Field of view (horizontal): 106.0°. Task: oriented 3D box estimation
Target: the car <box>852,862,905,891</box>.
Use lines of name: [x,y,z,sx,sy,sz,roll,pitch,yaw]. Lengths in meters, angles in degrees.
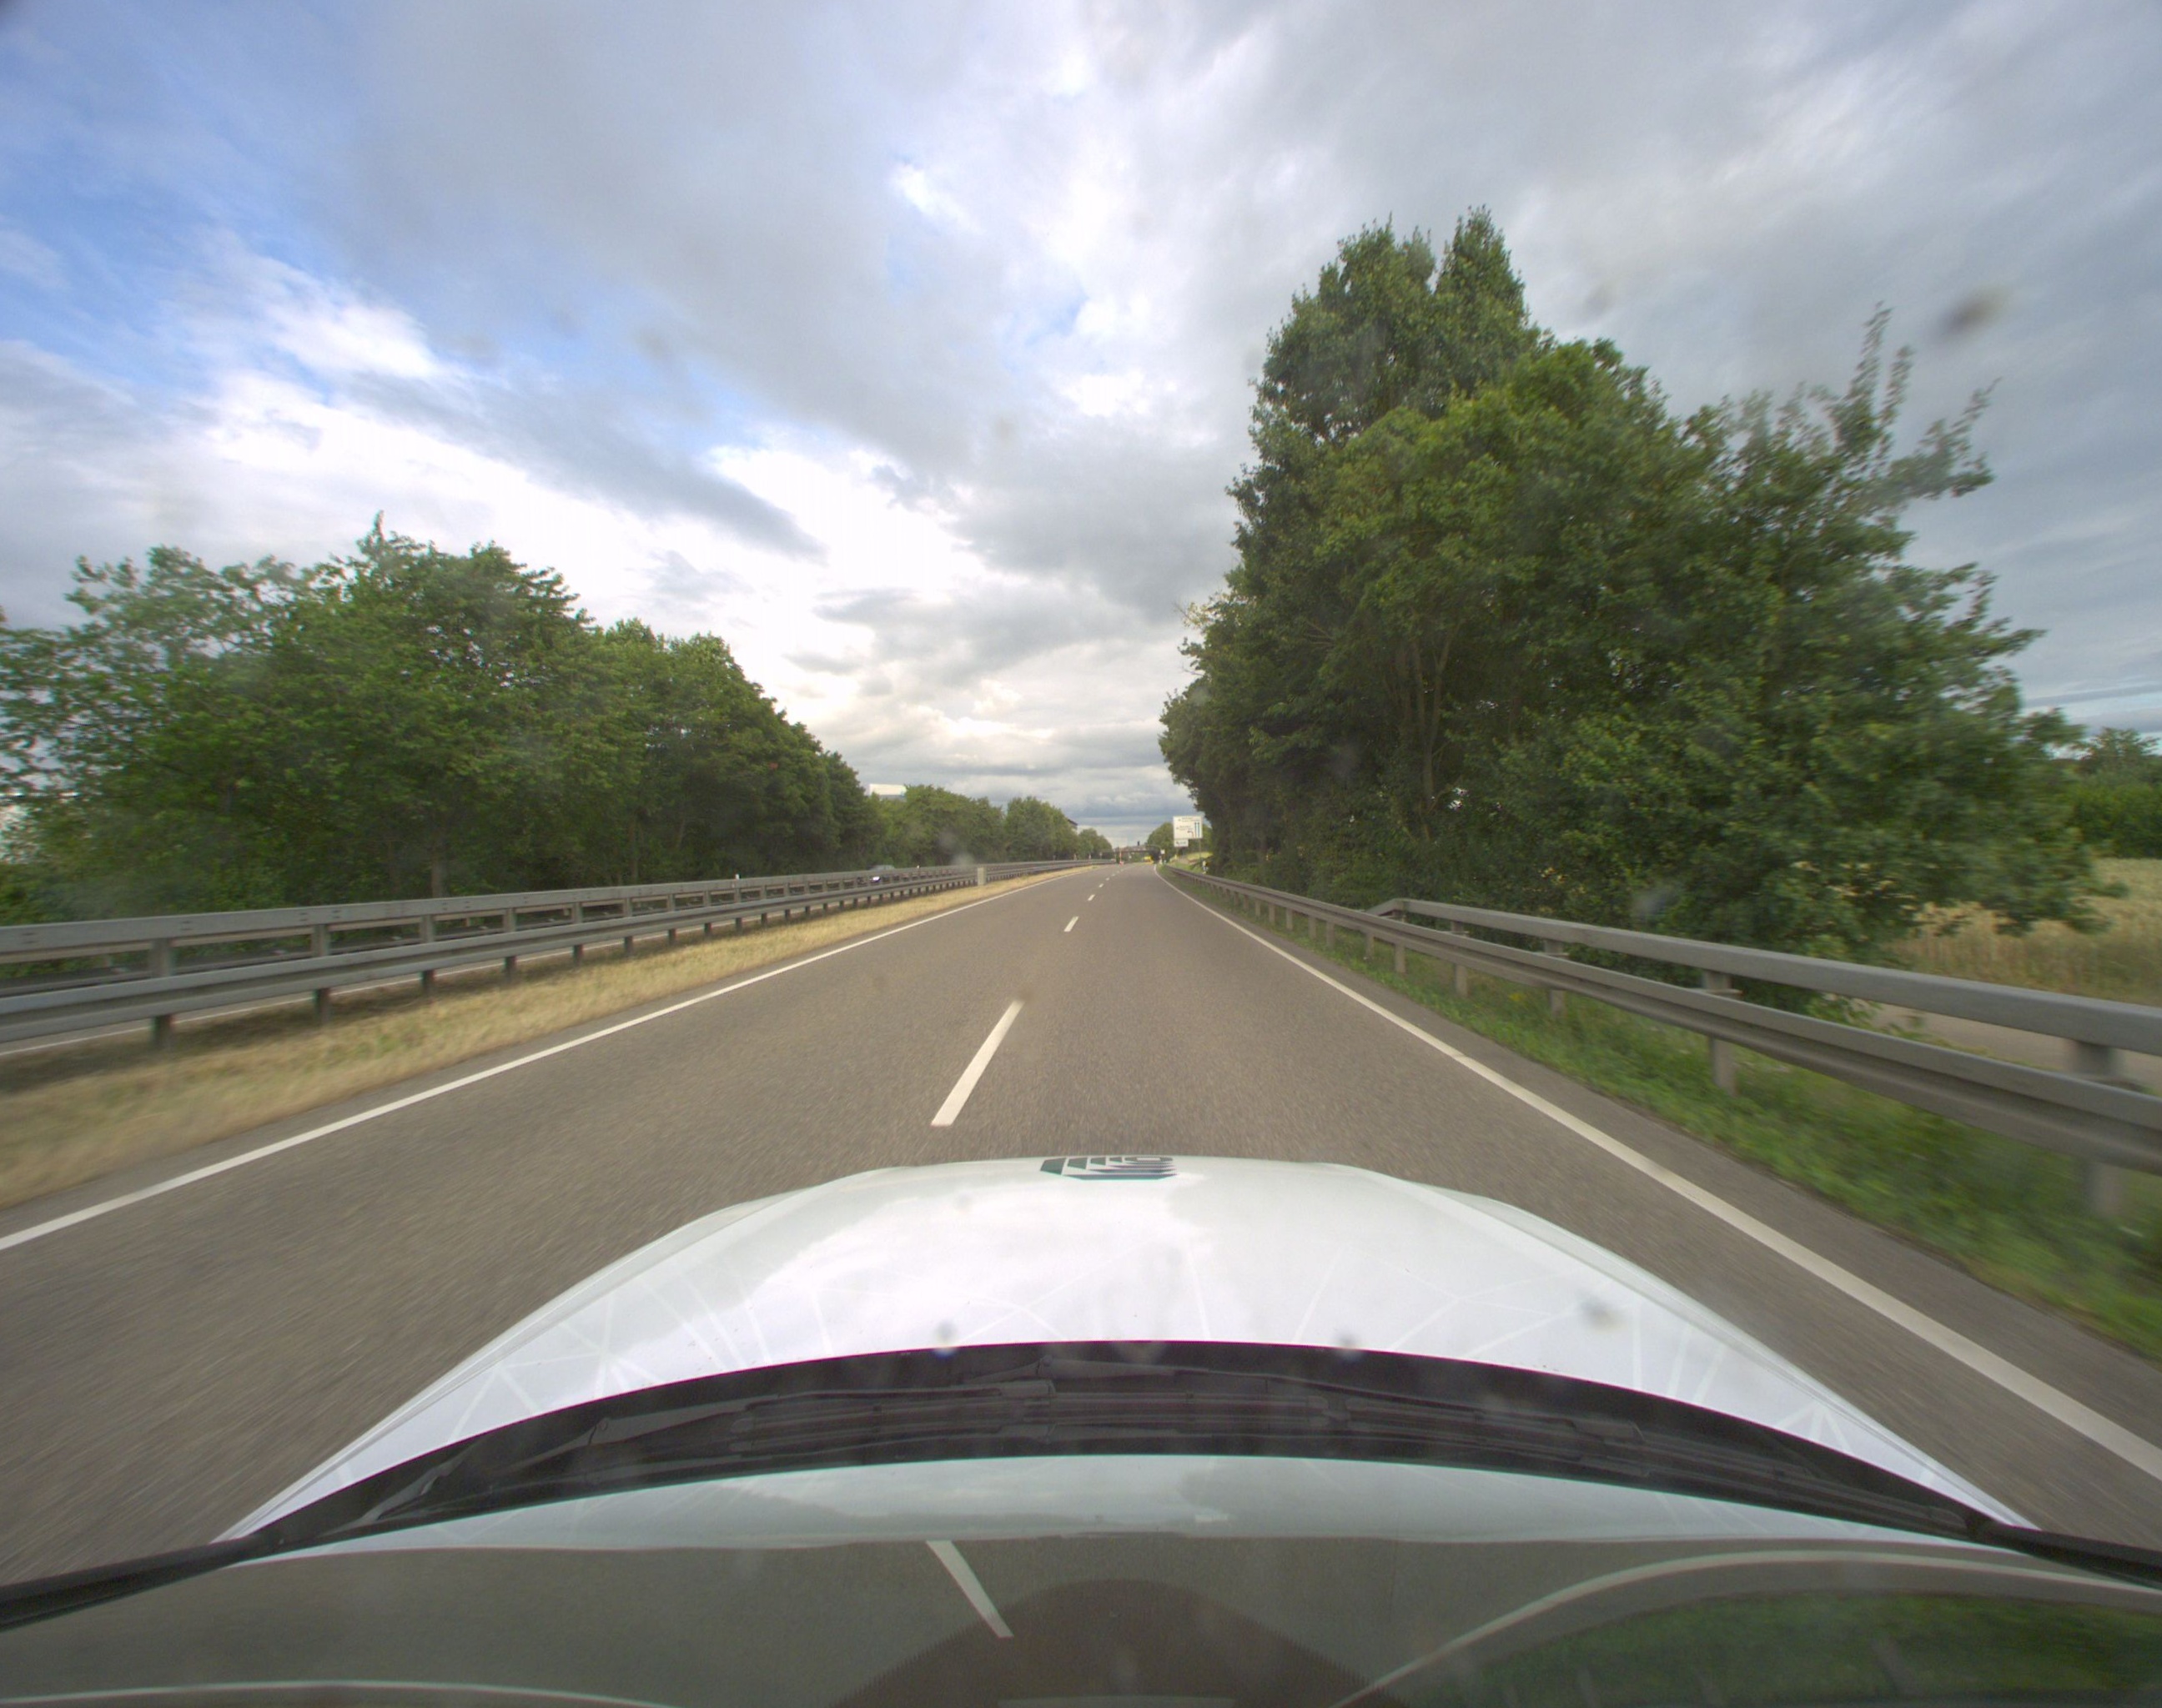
car: [-12.369,1.348,49.963,1.817,1.544,4.590,-3,0,3]
